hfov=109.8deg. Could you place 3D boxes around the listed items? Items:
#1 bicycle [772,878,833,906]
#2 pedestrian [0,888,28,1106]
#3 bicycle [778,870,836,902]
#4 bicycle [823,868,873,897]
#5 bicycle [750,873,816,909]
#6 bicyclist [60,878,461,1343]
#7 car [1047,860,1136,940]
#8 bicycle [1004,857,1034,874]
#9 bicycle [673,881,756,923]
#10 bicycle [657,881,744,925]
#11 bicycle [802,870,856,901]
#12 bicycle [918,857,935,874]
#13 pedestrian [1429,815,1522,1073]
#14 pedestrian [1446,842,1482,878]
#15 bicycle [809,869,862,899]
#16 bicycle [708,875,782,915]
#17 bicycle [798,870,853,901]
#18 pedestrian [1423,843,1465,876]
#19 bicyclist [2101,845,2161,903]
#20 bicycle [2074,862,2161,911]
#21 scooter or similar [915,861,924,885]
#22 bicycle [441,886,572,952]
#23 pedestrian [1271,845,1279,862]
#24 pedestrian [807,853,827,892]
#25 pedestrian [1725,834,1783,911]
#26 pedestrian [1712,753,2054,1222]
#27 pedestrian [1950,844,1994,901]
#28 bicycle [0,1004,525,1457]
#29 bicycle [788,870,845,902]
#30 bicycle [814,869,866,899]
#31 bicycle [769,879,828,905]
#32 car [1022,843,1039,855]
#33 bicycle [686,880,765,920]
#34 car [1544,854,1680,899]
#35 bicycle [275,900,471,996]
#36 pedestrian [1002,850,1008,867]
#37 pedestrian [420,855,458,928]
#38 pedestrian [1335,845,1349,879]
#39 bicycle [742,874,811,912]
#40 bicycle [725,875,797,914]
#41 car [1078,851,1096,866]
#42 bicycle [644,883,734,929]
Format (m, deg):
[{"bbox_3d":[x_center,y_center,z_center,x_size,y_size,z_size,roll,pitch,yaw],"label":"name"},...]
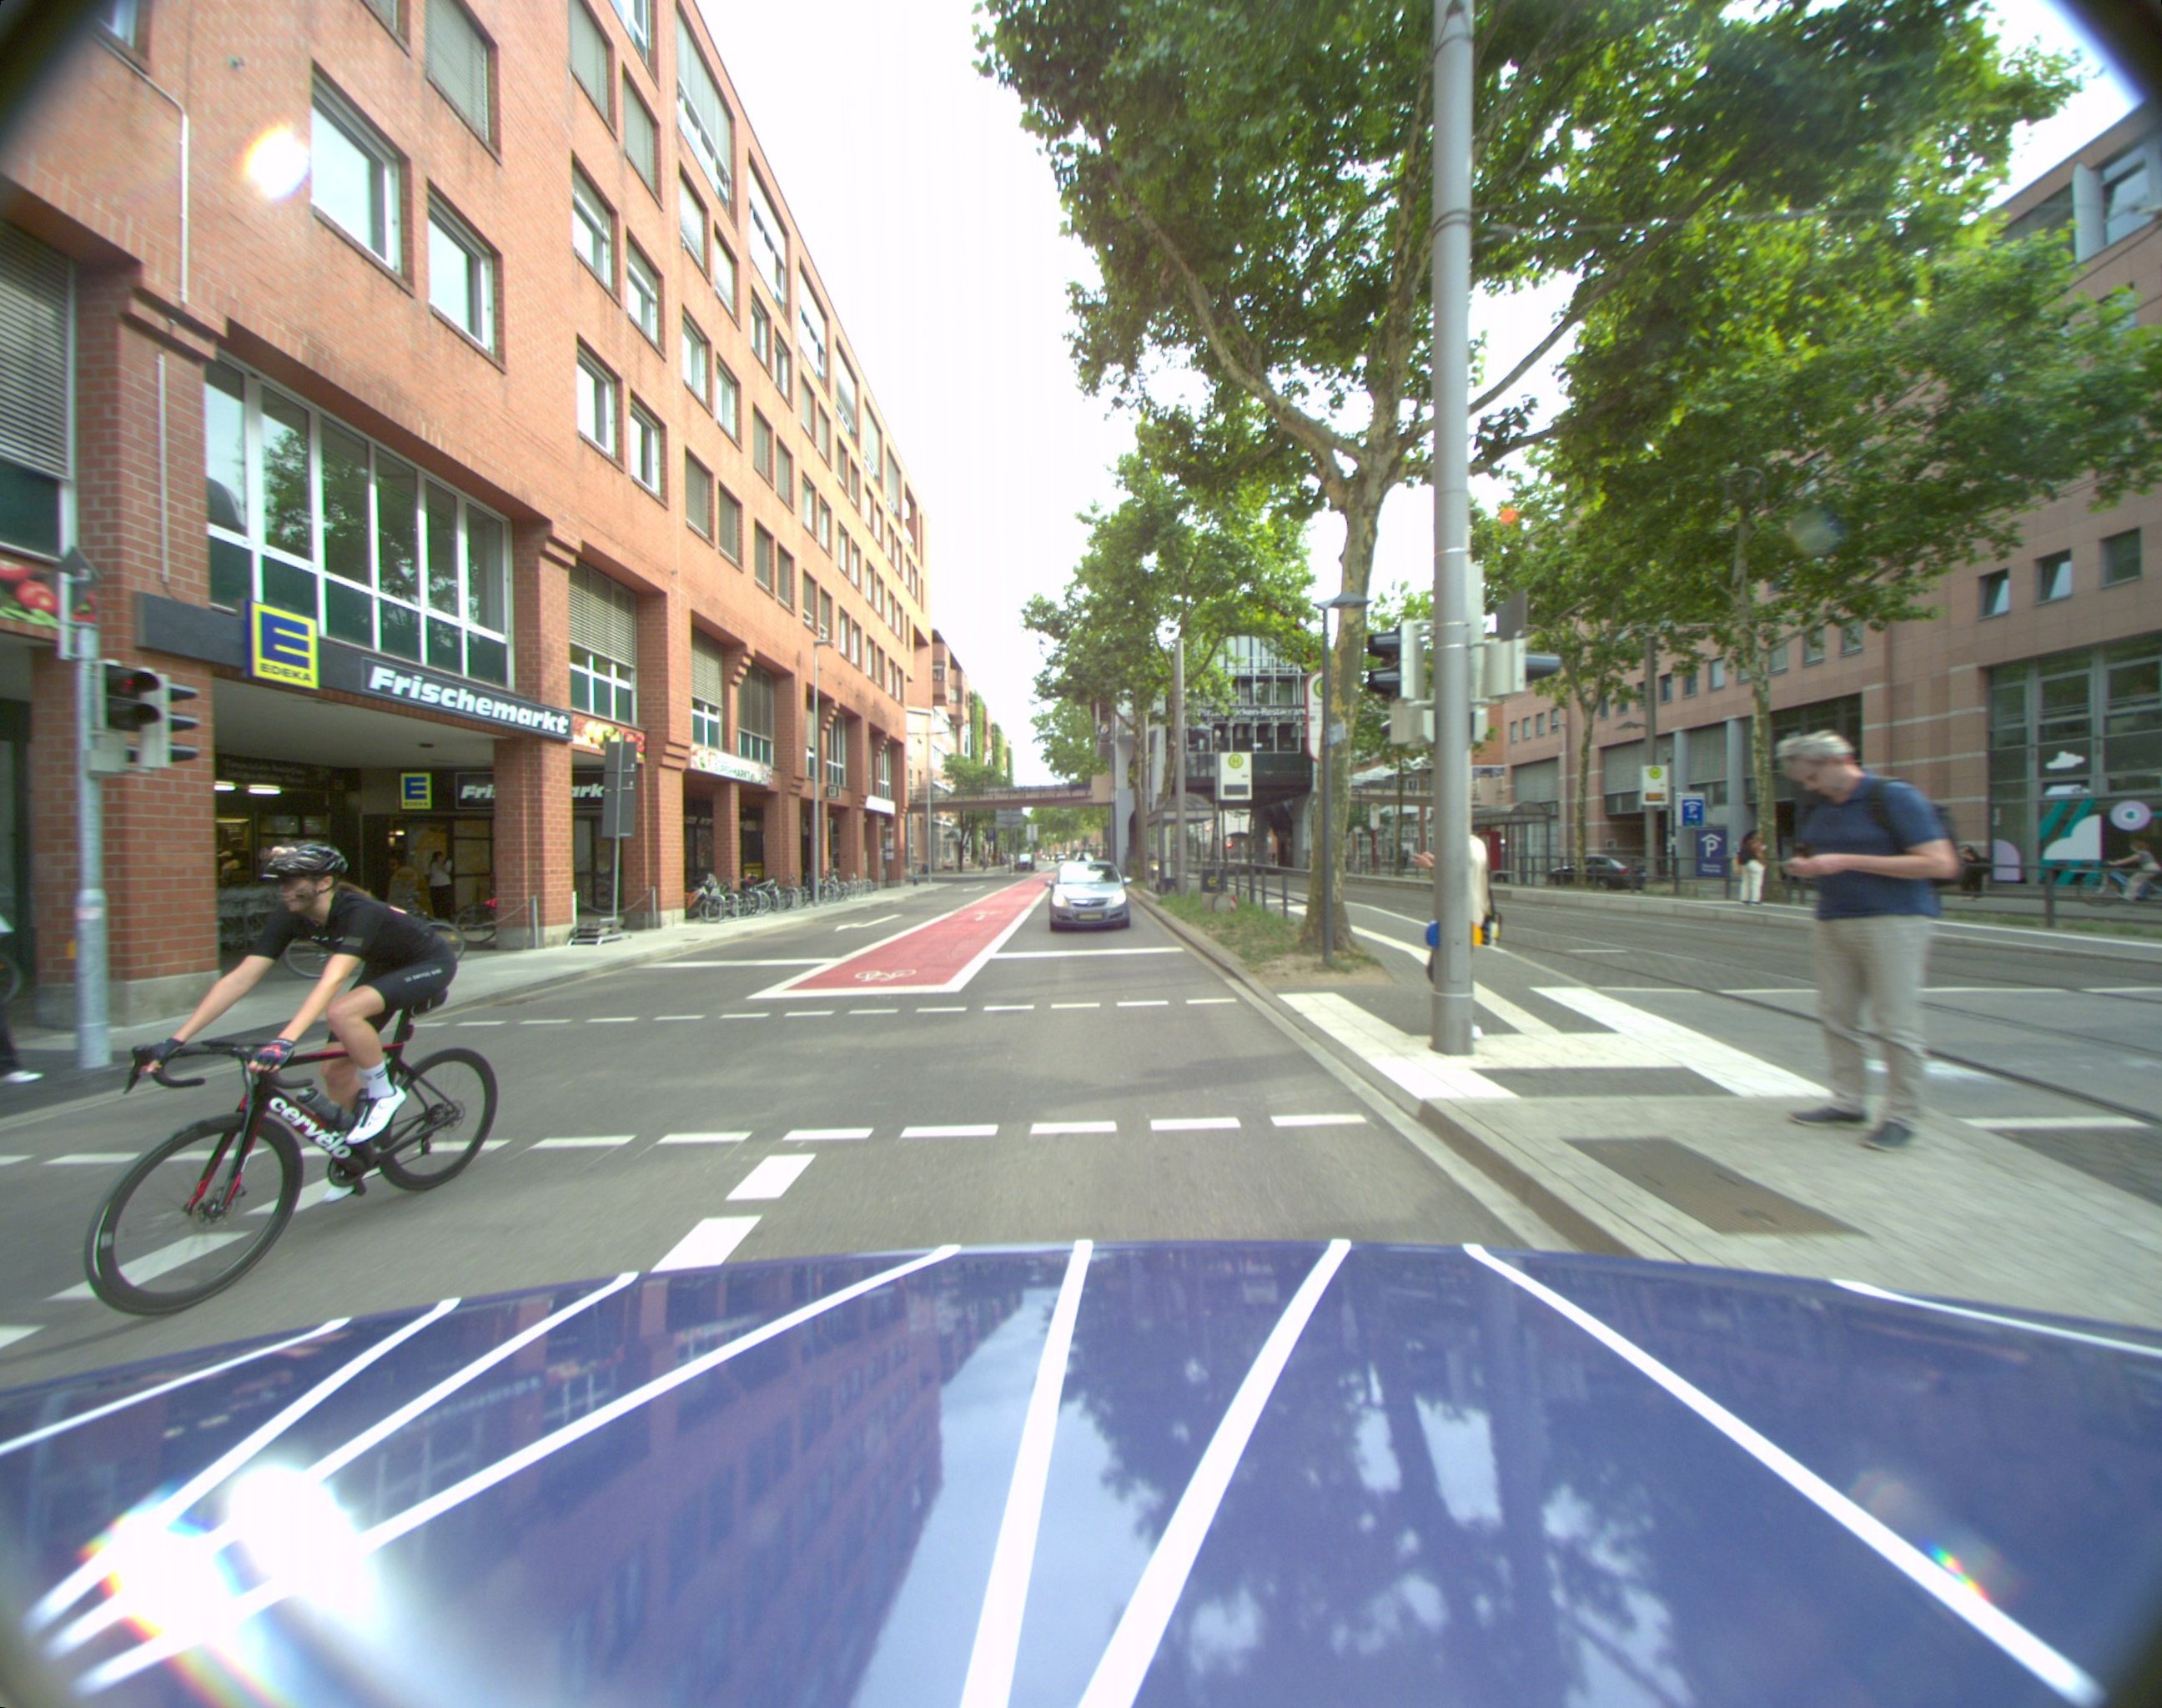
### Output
[{"bbox_3d":[-9.396,1.279,25.693,1.859,0.888,0.534,0,0,1],"label":"bicycle"},{"bbox_3d":[-8.292,1.071,5.460,0.407,1.622,0.732,1,1,8],"label":"pedestrian"},{"bbox_3d":[-9.698,1.128,26.923,1.859,1.134,0.534,0,0,1],"label":"bicycle"},{"bbox_3d":[-9.361,1.151,30.534,1.859,1.134,0.534,0,0,1],"label":"bicycle"},{"bbox_3d":[-9.310,1.158,23.755,1.859,1.105,0.534,0,0,1],"label":"bicycle"},{"bbox_3d":[-3.241,0.923,3.109,0.613,1.594,0.847,-3,1,0],"label":"bicyclist"},{"bbox_3d":[0.147,0.933,17.192,1.723,1.395,3.998,-3,2,-2],"label":"car"},{"bbox_3d":[-5.503,1.018,67.761,2.584,1.430,0.769,-1,0,2],"label":"bicycle"},{"bbox_3d":[-9.371,1.217,19.469,1.859,1.034,0.534,0,0,1],"label":"bicycle"},{"bbox_3d":[-9.383,1.199,18.761,1.859,1.034,0.534,0,0,1],"label":"bicycle"},{"bbox_3d":[-9.464,1.173,28.587,1.859,1.134,0.534,0,0,1],"label":"bicycle"},{"bbox_3d":[-12.561,0.937,61.916,0.746,1.382,2.980,-1,0,0],"label":"bicycle"},{"bbox_3d":[2.888,0.624,5.607,0.534,1.781,0.578,-1,1,21],"label":"pedestrian"},{"bbox_3d":[22.336,0.366,44.363,1.429,2.002,1.361,-3,1,5],"label":"pedestrian"},{"bbox_3d":[-9.458,1.165,29.302,1.859,1.134,0.534,0,0,1],"label":"bicycle"},{"bbox_3d":[-9.488,1.156,21.481,1.859,1.105,0.534,0,0,1],"label":"bicycle"},{"bbox_3d":[-9.423,1.148,28.067,1.859,1.134,0.534,0,0,1],"label":"bicycle"},{"bbox_3d":[22.806,0.327,47.744,1.695,2.002,2.034,-3,1,5],"label":"pedestrian"},{"bbox_3d":[25.190,0.469,18.205,0.552,1.373,0.737,-1,1,-12],"label":"bicyclist"},{"bbox_3d":[25.187,0.761,18.223,0.548,1.111,1.588,-1,0,-12],"label":"bicycle"},{"bbox_3d":[-8.810,1.037,41.418,0.272,1.250,0.921,-1,0,1],"label":"scooter or similar"},{"bbox_3d":[-10.599,1.165,14.077,0.483,1.077,1.868,2,1,40],"label":"bicycle"},{"bbox_3d":[22.248,-0.056,87.175,0.716,2.002,0.774,-3,1,1],"label":"pedestrian"},{"bbox_3d":[-12.282,0.857,35.389,0.614,1.766,0.780,-1,1,1],"label":"pedestrian"},{"bbox_3d":[13.845,0.364,15.641,0.658,1.529,0.558,-1,3,-4],"label":"pedestrian"},{"bbox_3d":[3.528,0.537,3.428,0.693,1.864,0.807,-1,1,1],"label":"pedestrian"},{"bbox_3d":[25.168,0.518,21.466,0.529,1.564,0.601,-1,1,1],"label":"pedestrian"},{"bbox_3d":[-3.226,1.305,3.142,0.489,0.995,1.748,-3,0,1],"label":"bicycle"},{"bbox_3d":[-9.564,1.147,27.494,1.859,1.134,0.534,0,0,1],"label":"bicycle"},{"bbox_3d":[-9.448,1.165,29.826,1.859,1.134,0.534,0,0,1],"label":"bicycle"},{"bbox_3d":[-9.820,1.308,26.415,1.859,0.865,0.534,0,0,1],"label":"bicycle"},{"bbox_3d":[-7.199,-0.747,108.606,1.957,1.592,4.000,-1,0,1],"label":"car"},{"bbox_3d":[-9.415,1.215,20.153,1.859,1.034,0.534,0,0,1],"label":"bicycle"},{"bbox_3d":[18.955,0.751,27.396,1.868,1.464,4.295,-1,0,-1],"label":"car"},{"bbox_3d":[-9.472,1.210,10.238,0.628,1.077,1.868,2,1,40],"label":"bicycle"},{"bbox_3d":[-7.272,0.458,72.939,0.516,1.645,0.612,-1,1,1],"label":"pedestrian"},{"bbox_3d":[-14.700,0.843,17.407,0.385,1.630,0.532,-1,0,0],"label":"pedestrian"},{"bbox_3d":[13.742,0.437,40.008,0.482,1.761,0.481,-1,1,-7],"label":"pedestrian"},{"bbox_3d":[-9.245,1.177,23.079,1.859,1.105,0.534,0,0,1],"label":"bicycle"},{"bbox_3d":[-9.348,1.170,22.234,1.859,1.105,0.534,0,0,1],"label":"bicycle"},{"bbox_3d":[0.685,0.487,84.580,1.957,1.592,4.000,-1,0,1],"label":"car"},{"bbox_3d":[-9.348,1.230,18.137,1.859,1.034,0.507,-1,0,1],"label":"bicycle"}]
